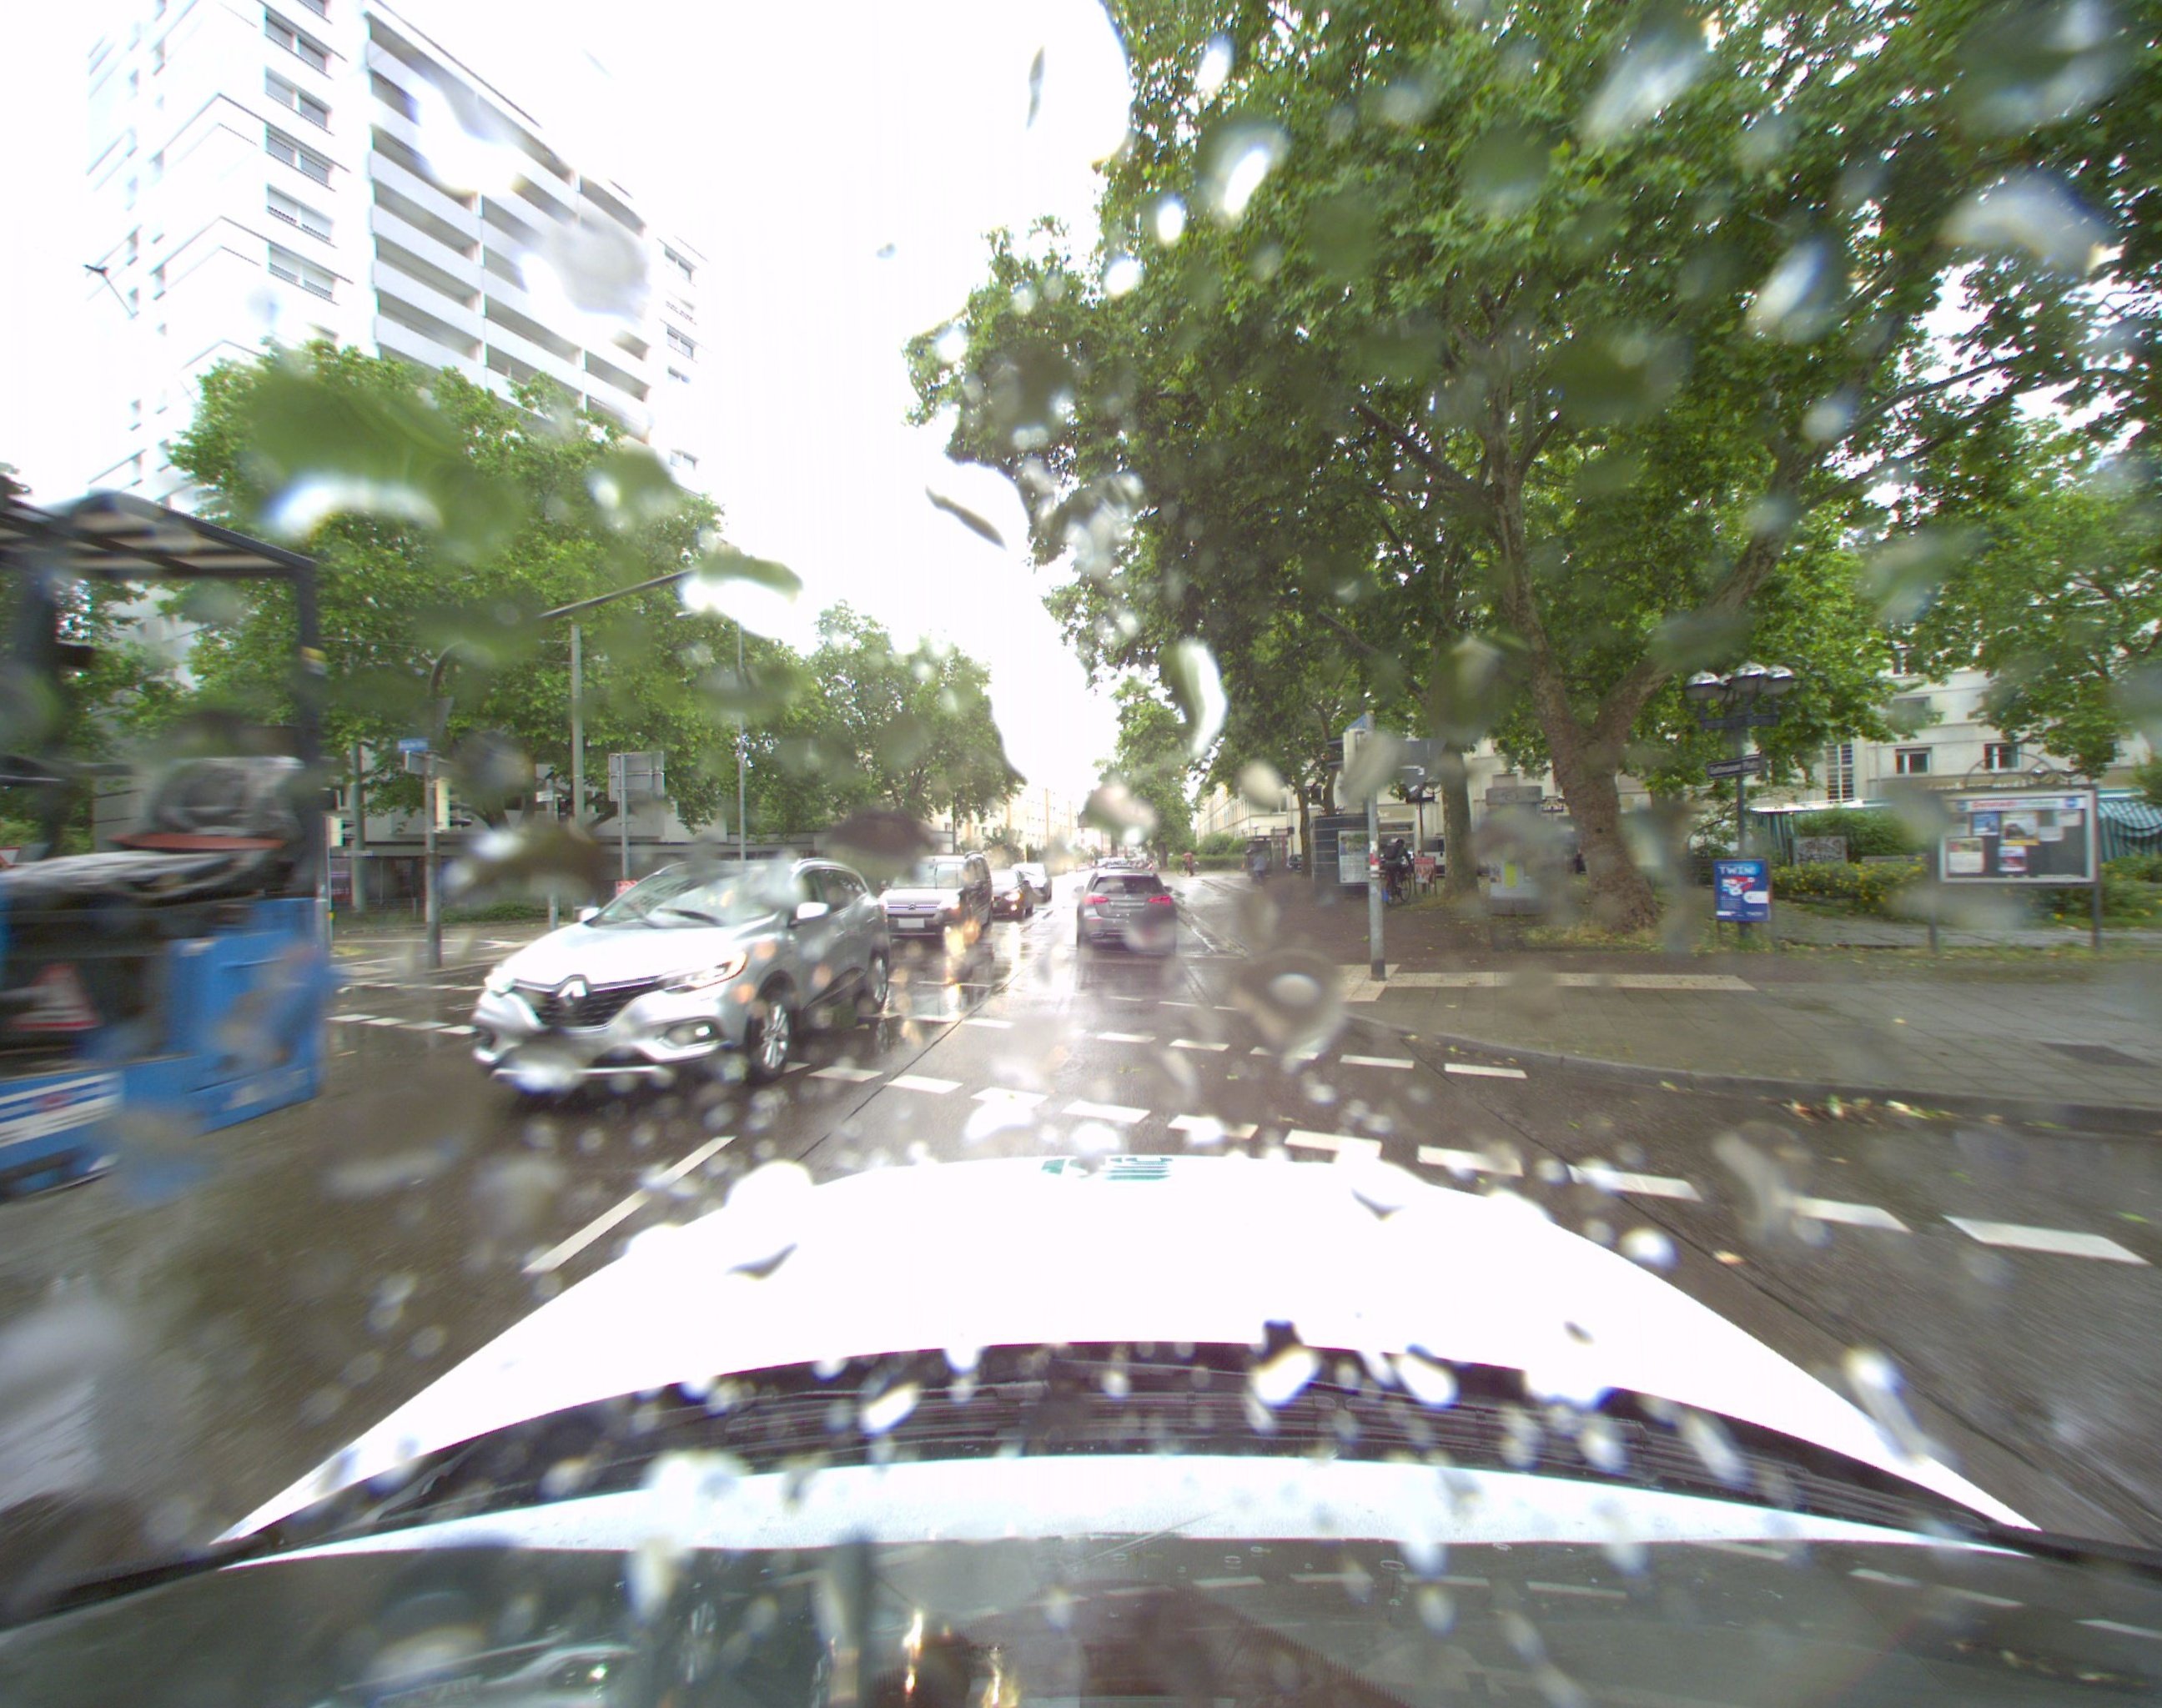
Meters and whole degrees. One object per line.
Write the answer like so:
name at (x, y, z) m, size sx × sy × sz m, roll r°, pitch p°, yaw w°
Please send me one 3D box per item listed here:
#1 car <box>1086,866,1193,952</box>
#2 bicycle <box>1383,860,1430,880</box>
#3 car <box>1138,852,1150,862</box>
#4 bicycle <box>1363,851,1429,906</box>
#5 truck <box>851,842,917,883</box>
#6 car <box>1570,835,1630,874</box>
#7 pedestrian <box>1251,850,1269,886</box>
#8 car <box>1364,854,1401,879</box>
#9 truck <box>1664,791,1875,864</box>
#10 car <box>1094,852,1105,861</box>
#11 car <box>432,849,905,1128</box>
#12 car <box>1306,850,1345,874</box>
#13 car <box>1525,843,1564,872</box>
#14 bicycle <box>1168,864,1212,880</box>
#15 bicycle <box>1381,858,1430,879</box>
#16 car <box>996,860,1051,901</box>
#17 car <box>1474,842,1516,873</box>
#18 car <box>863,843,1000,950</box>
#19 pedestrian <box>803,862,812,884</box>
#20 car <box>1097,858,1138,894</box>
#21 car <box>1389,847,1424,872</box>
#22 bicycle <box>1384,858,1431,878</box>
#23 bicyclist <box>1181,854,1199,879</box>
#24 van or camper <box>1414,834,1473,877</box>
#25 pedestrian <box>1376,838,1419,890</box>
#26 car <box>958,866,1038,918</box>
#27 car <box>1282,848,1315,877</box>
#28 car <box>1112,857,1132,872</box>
car at (1.058, 0.959, 15.543) m, size 1.784 × 1.372 × 3.508 m, roll -1°, pitch 0°, yaw 2°
bicycle at (16.783, 0.808, 42.003) m, size 2.231 × 0.968 × 0.537 m, roll -2°, pitch 0°, yaw 25°
car at (12.120, 0.593, 156.836) m, size 2.036 × 1.836 × 4.800 m, roll -2°, pitch -1°, yaw 6°
bicycle at (8.825, 0.668, 22.743) m, size 0.742 × 1.377 × 2.724 m, roll -3°, pitch 0°, yaw 42°
truck at (-18.974, 0.810, 78.542) m, size 5.652 × 3.645 × 2.179 m, roll -2°, pitch -1°, yaw 6°
car at (26.636, 0.058, 41.921) m, size 2.135 × 1.838 × 4.023 m, roll -2°, pitch -3°, yaw 27°
pedestrian at (8.428, 0.672, 38.343) m, size 0.713 × 1.669 × 0.666 m, roll -2°, pitch -1°, yaw 6°
car at (17.209, 0.750, 46.426) m, size 1.568 × 1.336 × 3.281 m, roll -3°, pitch -3°, yaw 26°
truck at (28.689, -1.012, 34.272) m, size 6.323 × 2.699 × 2.280 m, roll -2°, pitch -1°, yaw 23°
car at (3.811, 0.549, 164.463) m, size 1.880 × 1.836 × 4.007 m, roll -2°, pitch -1°, yaw 6°
car at (-2.887, 0.806, 6.823) m, size 1.735 × 1.604 × 4.003 m, roll -2°, pitch 0°, yaw 3°
car at (17.520, 0.521, 58.265) m, size 1.975 × 1.628 × 4.657 m, roll 1°, pitch 1°, yaw 25°
car at (24.711, 0.228, 43.527) m, size 1.663 × 1.432 × 3.758 m, roll -2°, pitch -3°, yaw 28°
bicycle at (8.334, 1.365, 62.264) m, size 3.213 × 1.112 × 1.048 m, roll -2°, pitch -1°, yaw -17°
bicycle at (16.477, 0.752, 41.410) m, size 2.260 × 0.983 × 0.548 m, roll -2°, pitch 0°, yaw 25°
car at (-2.278, 1.046, 33.401) m, size 1.838 × 1.510 × 4.056 m, roll -2°, pitch 0°, yaw 1°
car at (22.372, 0.188, 44.099) m, size 1.664 × 1.575 × 3.756 m, roll -2°, pitch -1°, yaw 23°
car at (-2.879, 0.771, 16.614) m, size 1.799 × 1.861 × 4.112 m, roll -2°, pitch 0°, yaw 3°
pedestrian at (-20.048, 1.400, 59.717) m, size 0.570 × 1.629 × 0.638 m, roll -2°, pitch -1°, yaw -12°
car at (1.564, 0.888, 34.945) m, size 1.601 × 1.372 × 4.002 m, roll -3°, pitch 0°, yaw 2°
car at (22.425, 0.358, 56.006) m, size 1.975 × 1.628 × 4.657 m, roll 1°, pitch 1°, yaw 25°
bicycle at (17.100, 0.730, 42.648) m, size 2.226 × 0.968 × 0.588 m, roll -2°, pitch 0°, yaw 25°
bicyclist at (8.316, 0.970, 62.234) m, size 0.940 × 1.868 × 1.136 m, roll -2°, pitch -1°, yaw -16°
van or camper at (20.222, 0.073, 45.298) m, size 2.373 × 2.231 × 5.463 m, roll -2°, pitch -1°, yaw 30°
pedestrian at (8.859, 0.285, 22.802) m, size 0.737 × 1.398 × 1.053 m, roll -3°, pitch 0°, yaw 42°
car at (-2.369, 1.062, 24.311) m, size 1.735 × 1.389 × 4.365 m, roll -1°, pitch -1°, yaw 3°
car at (12.912, 0.525, 48.242) m, size 1.675 × 1.551 × 3.538 m, roll -2°, pitch -3°, yaw 18°
car at (4.417, 1.124, 88.752) m, size 1.986 × 1.574 × 4.001 m, roll -2°, pitch -1°, yaw 1°
